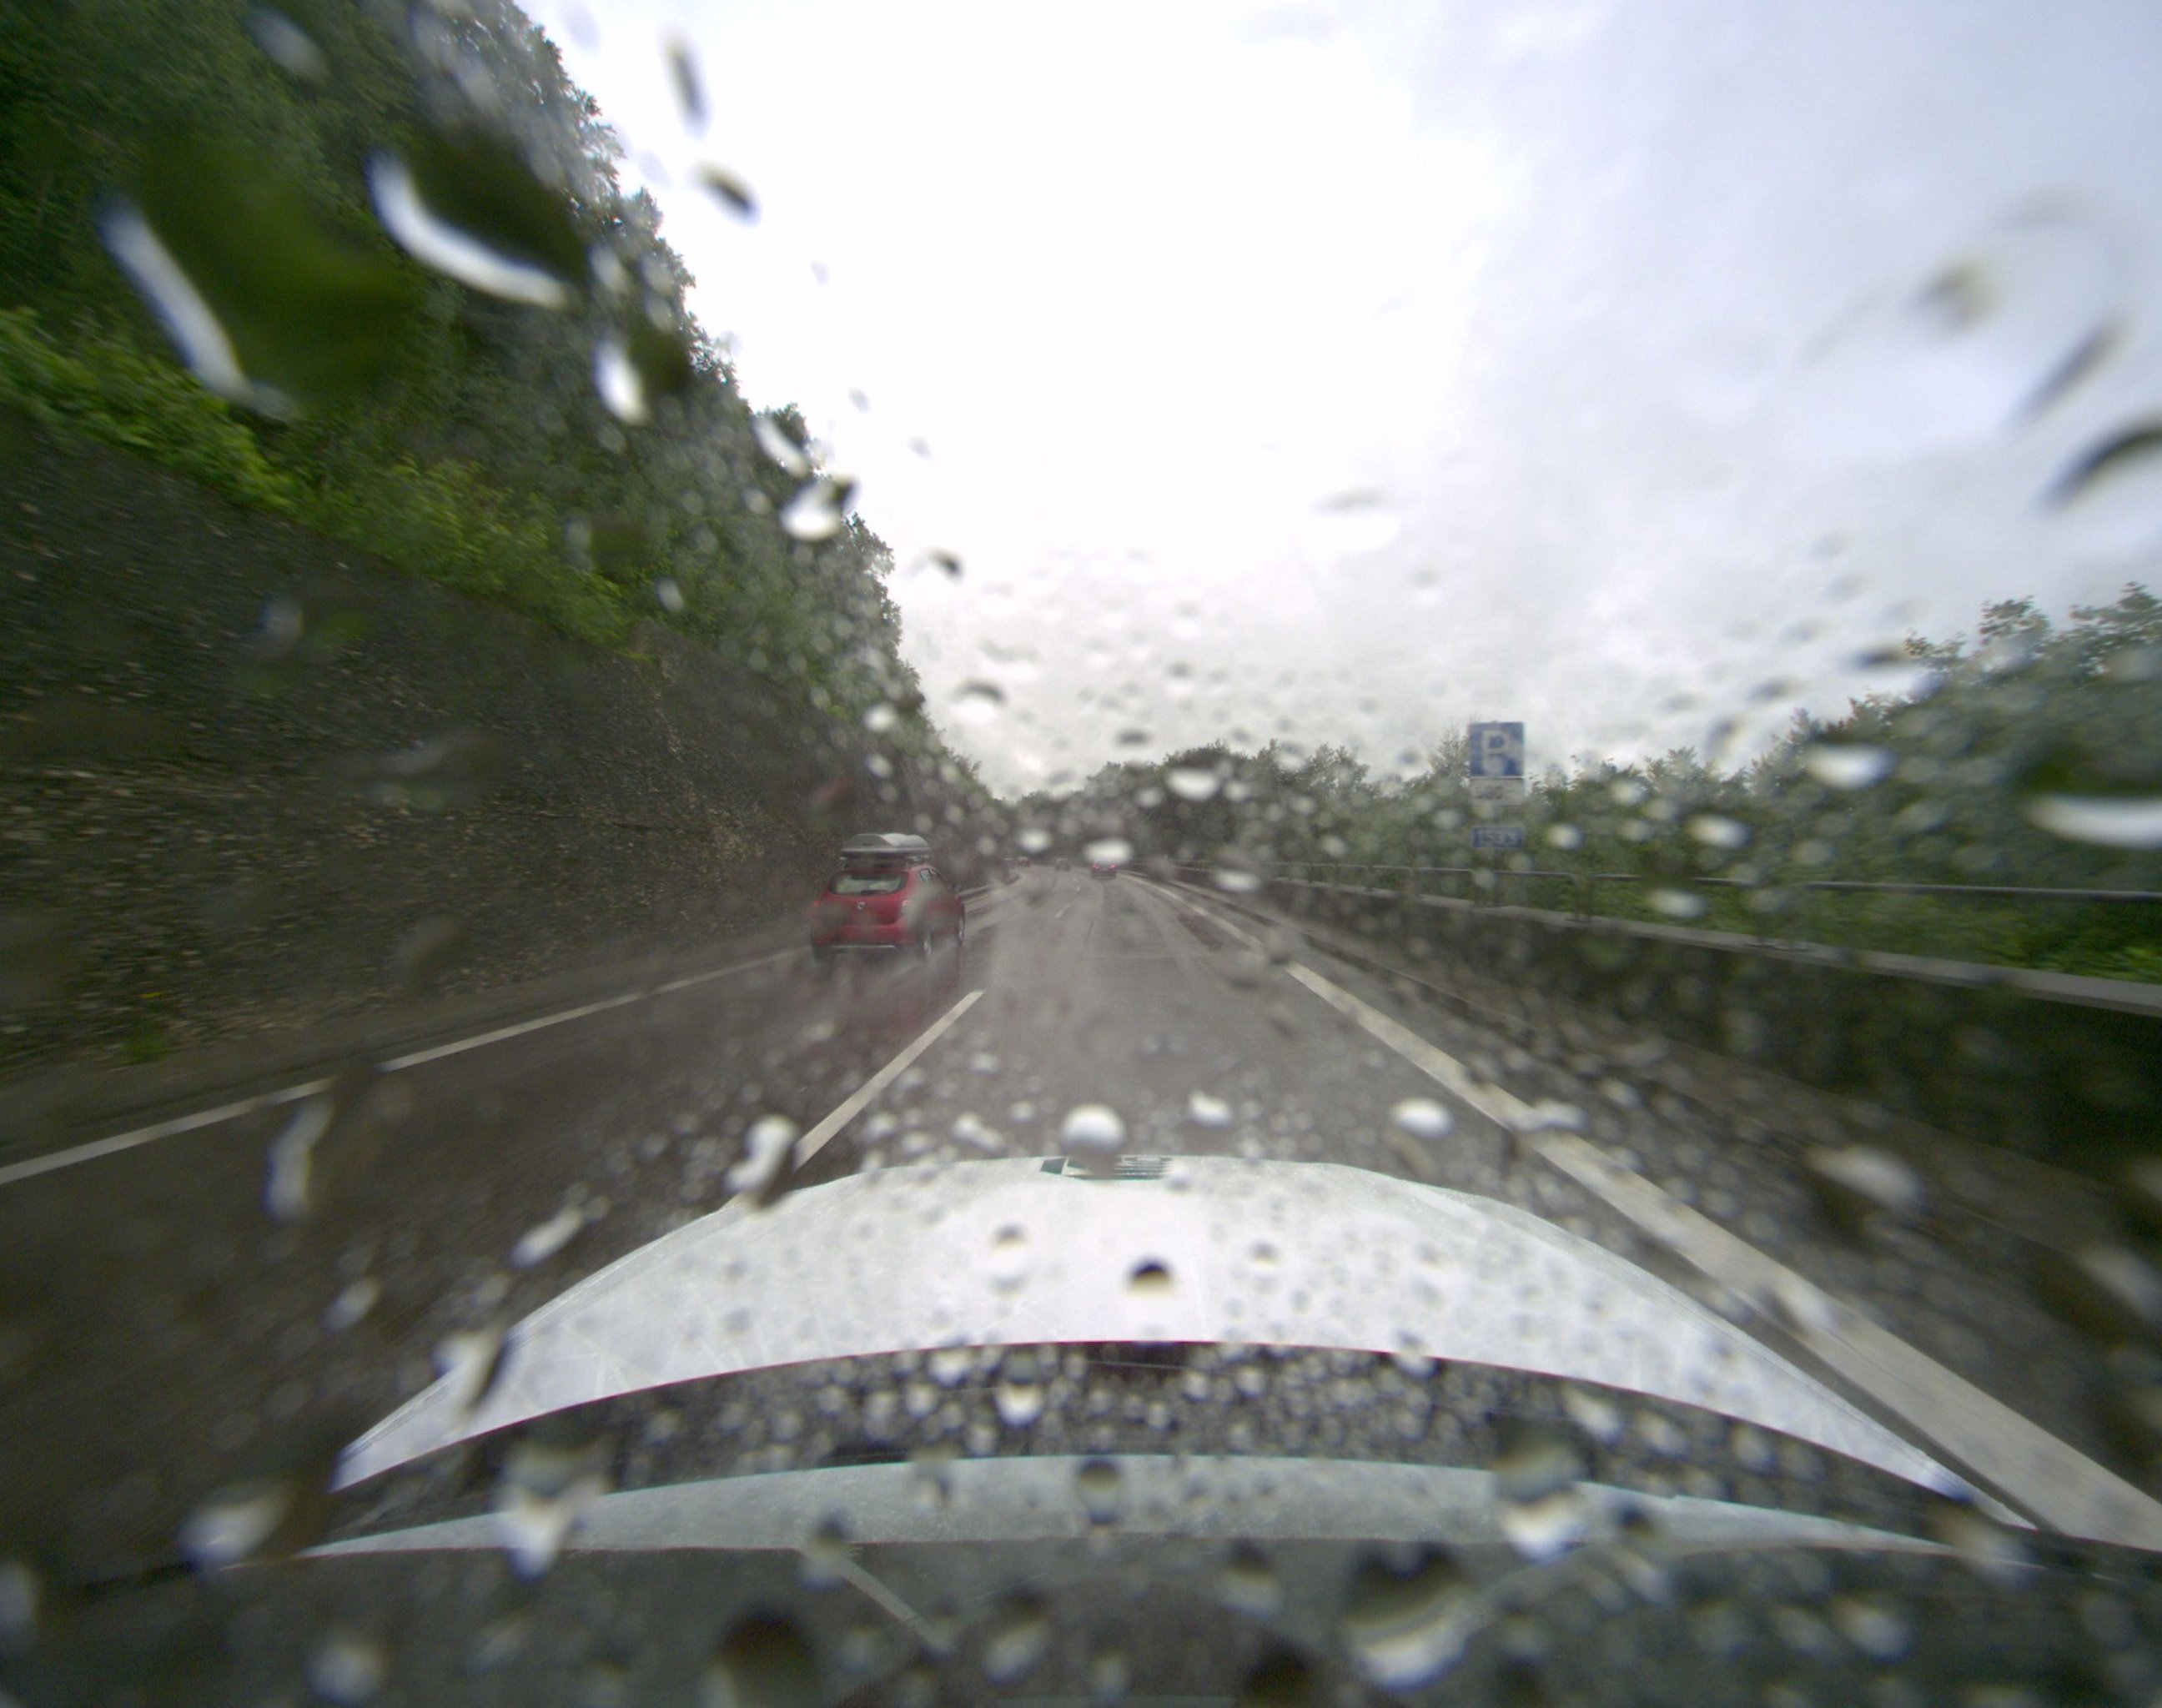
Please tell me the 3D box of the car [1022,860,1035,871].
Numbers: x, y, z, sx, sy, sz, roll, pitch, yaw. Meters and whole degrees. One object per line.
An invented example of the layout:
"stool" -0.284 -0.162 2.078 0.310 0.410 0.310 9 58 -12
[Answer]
"car" -9.727 2.079 151.778 1.993 2.014 3.987 -1 -1 -9

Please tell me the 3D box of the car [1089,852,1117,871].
"car" 1.590 0.544 60.270 1.796 1.307 3.995 -2 0 -3

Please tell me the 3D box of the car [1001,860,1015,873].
"car" -11.152 1.859 125.025 1.990 1.904 3.994 -1 -1 -4

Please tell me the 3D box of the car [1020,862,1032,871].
"car" -9.164 2.053 136.017 1.799 1.467 3.990 -2 0 -7

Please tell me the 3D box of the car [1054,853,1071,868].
"car" -2.279 0.851 100.491 1.989 1.750 3.994 -1 -1 -4

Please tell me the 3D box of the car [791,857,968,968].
"car" -3.202 0.853 13.843 1.987 1.552 3.999 -2 0 0
